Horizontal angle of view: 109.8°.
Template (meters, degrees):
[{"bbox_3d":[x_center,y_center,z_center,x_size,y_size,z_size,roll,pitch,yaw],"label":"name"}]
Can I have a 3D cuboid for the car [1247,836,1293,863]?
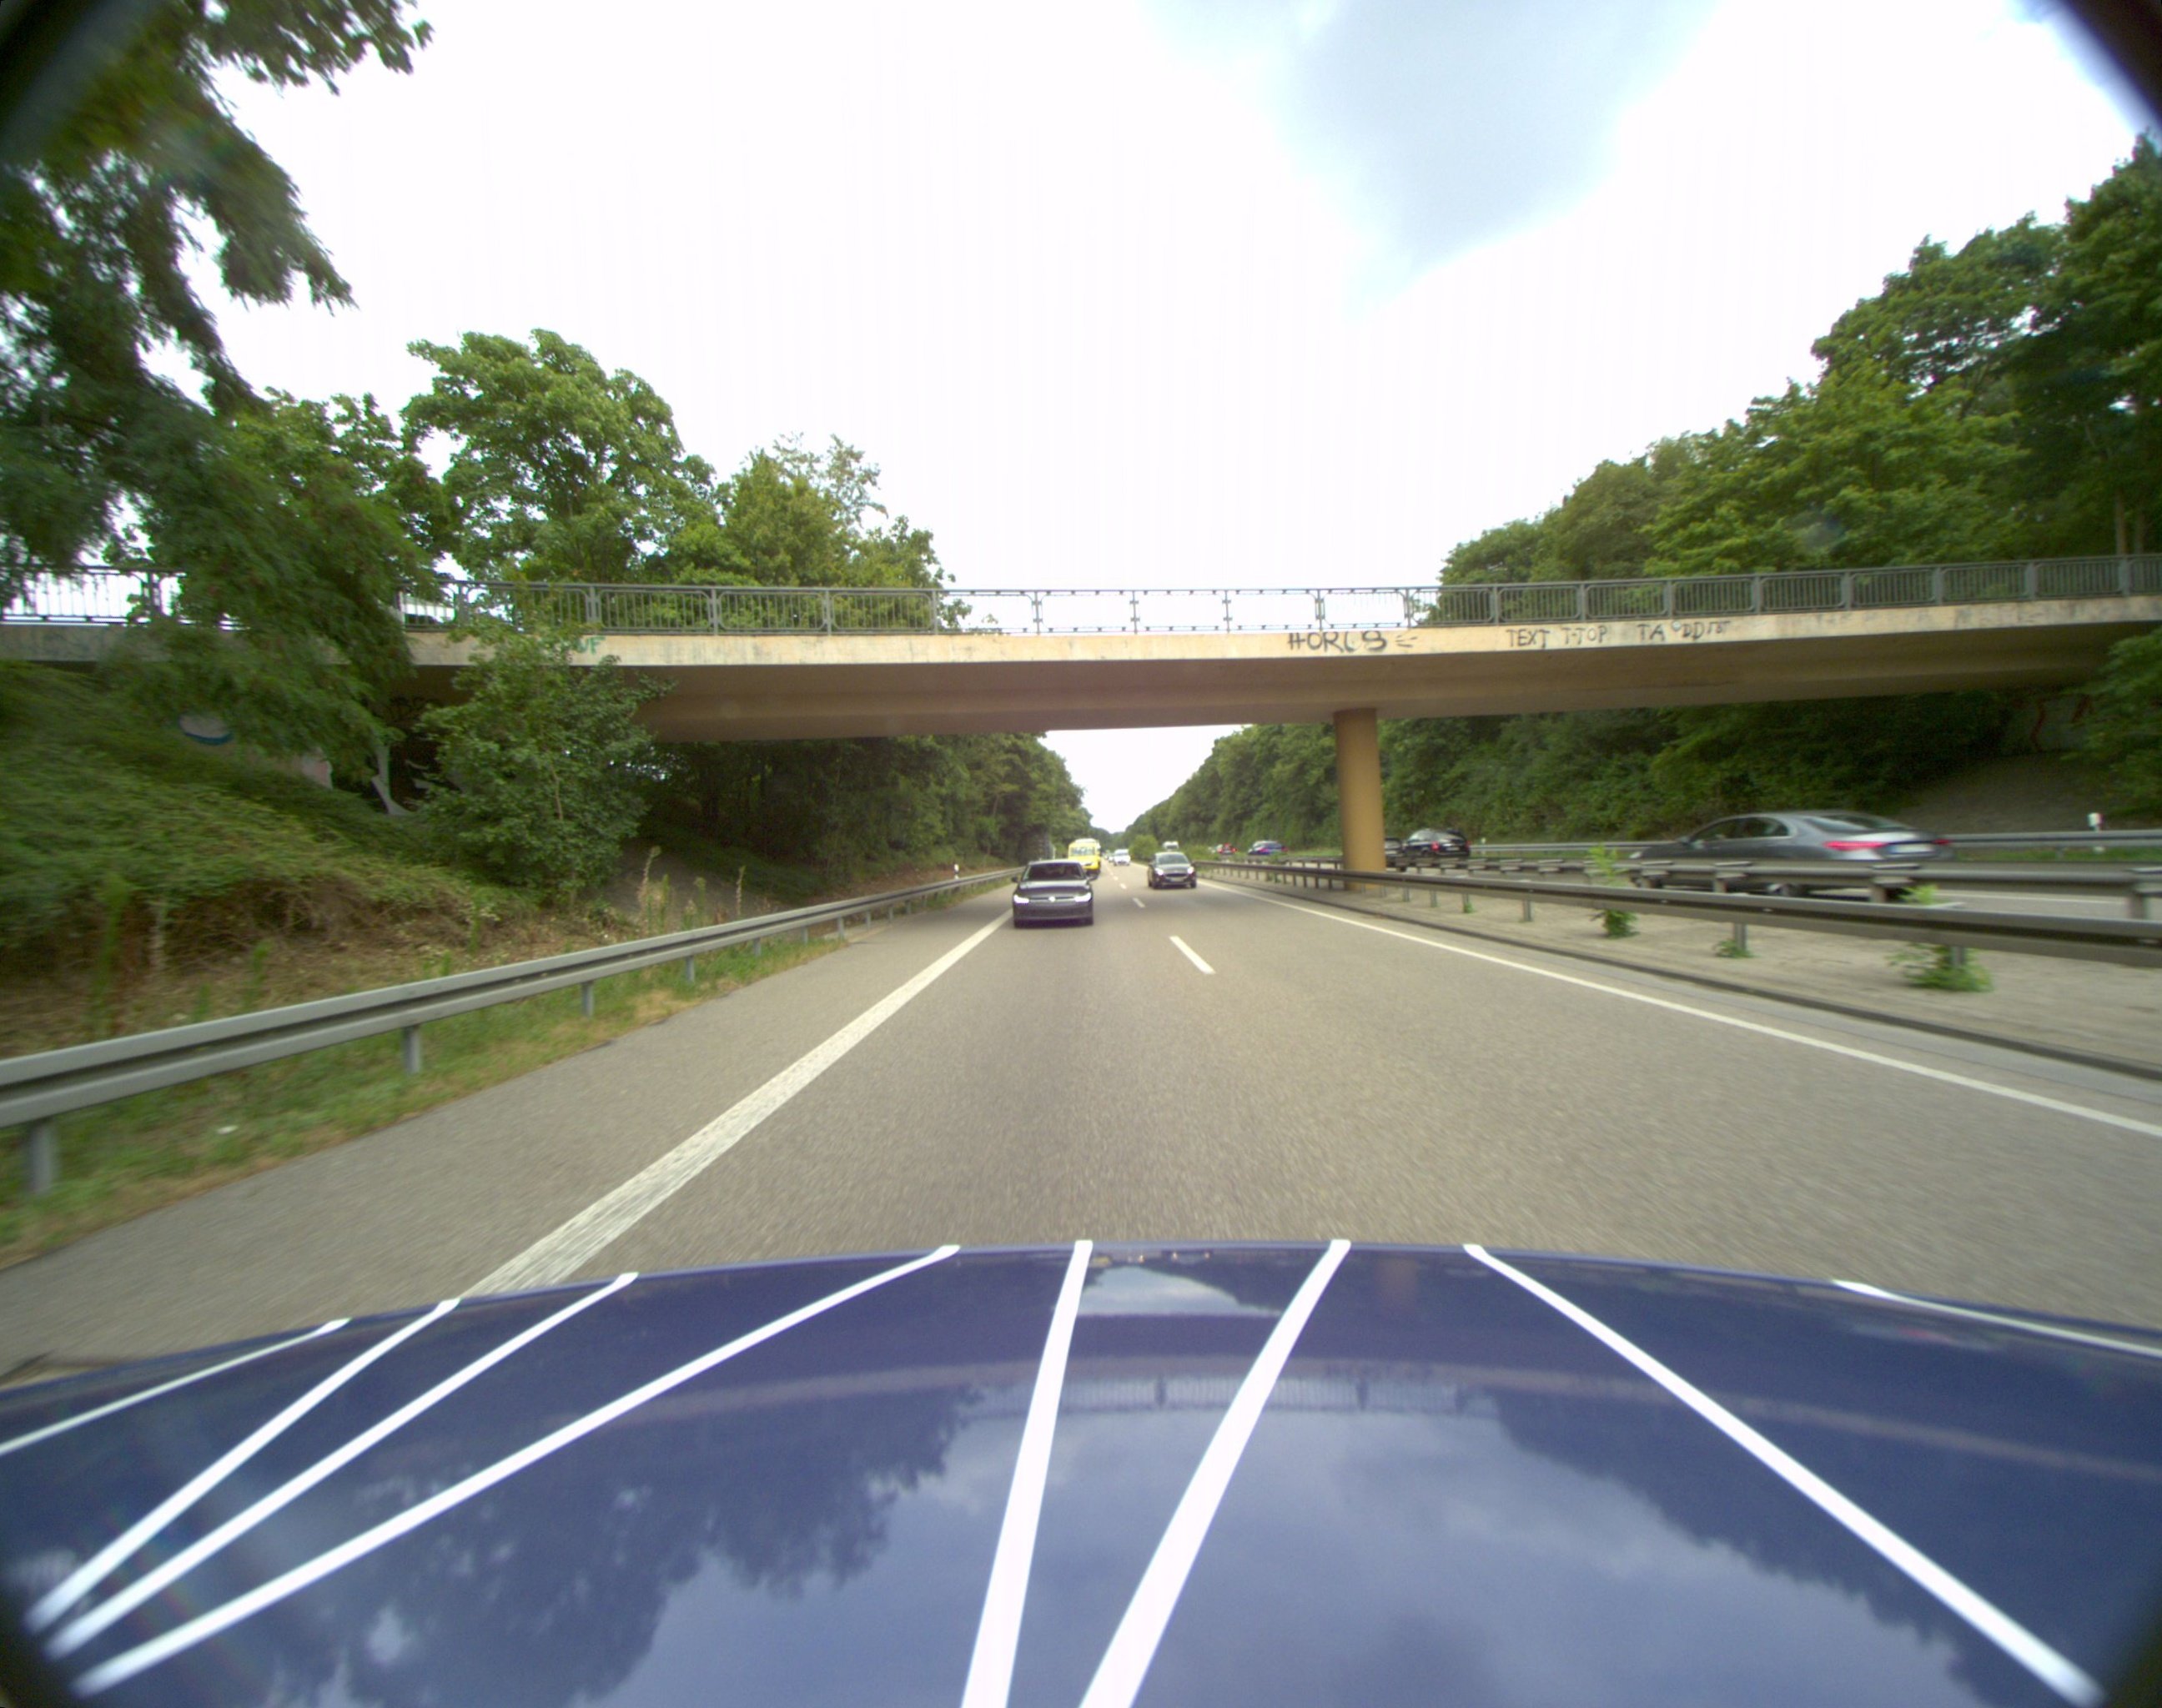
[{"bbox_3d":[12.603,-0.351,50.978,1.898,1.642,4.638,-2,1,1],"label":"car"}]

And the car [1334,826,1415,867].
[{"bbox_3d":[11.717,-0.333,30.605,1.693,1.455,3.989,-2,1,1],"label":"car"}]

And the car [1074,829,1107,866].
[{"bbox_3d":[0.710,-0.573,60.893,2.208,2.732,6.165,-2,1,-2],"label":"car"}]

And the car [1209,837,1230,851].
[{"bbox_3d":[17.693,-1.320,97.397,1.898,1.642,4.638,-2,1,1],"label":"car"}]

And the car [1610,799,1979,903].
[{"bbox_3d":[11.564,-0.102,12.949,1.693,1.373,4.935,-2,1,1],"label":"car"}]

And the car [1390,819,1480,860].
[{"bbox_3d":[15.886,-0.671,34.382,1.898,1.677,4.638,-2,1,1],"label":"car"}]

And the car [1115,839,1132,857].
[{"bbox_3d":[4.972,-0.732,90.252,1.821,1.993,4.422,-2,1,2],"label":"car"}]

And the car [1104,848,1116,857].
[{"bbox_3d":[4.652,-0.282,123.892,1.772,1.416,4.197,-2,1,0],"label":"car"}]

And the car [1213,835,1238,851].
[{"bbox_3d":[15.959,-1.191,84.224,1.898,1.642,4.638,-2,1,1],"label":"car"}]

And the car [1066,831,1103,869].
[{"bbox_3d":[0.190,-0.314,52.018,2.248,2.334,5.222,-2,1,-2],"label":"car"}]

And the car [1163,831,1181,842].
[{"bbox_3d":[14.174,-2.707,118.926,2.193,1.642,4.638,-2,1,1],"label":"car"}]

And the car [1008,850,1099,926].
[{"bbox_3d":[-0.576,0.681,17.807,1.801,1.398,4.638,-2,1,0],"label":"car"}]

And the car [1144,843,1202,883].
[{"bbox_3d":[3.757,0.307,31.703,1.831,1.449,4.638,-2,1,1],"label":"car"}]
